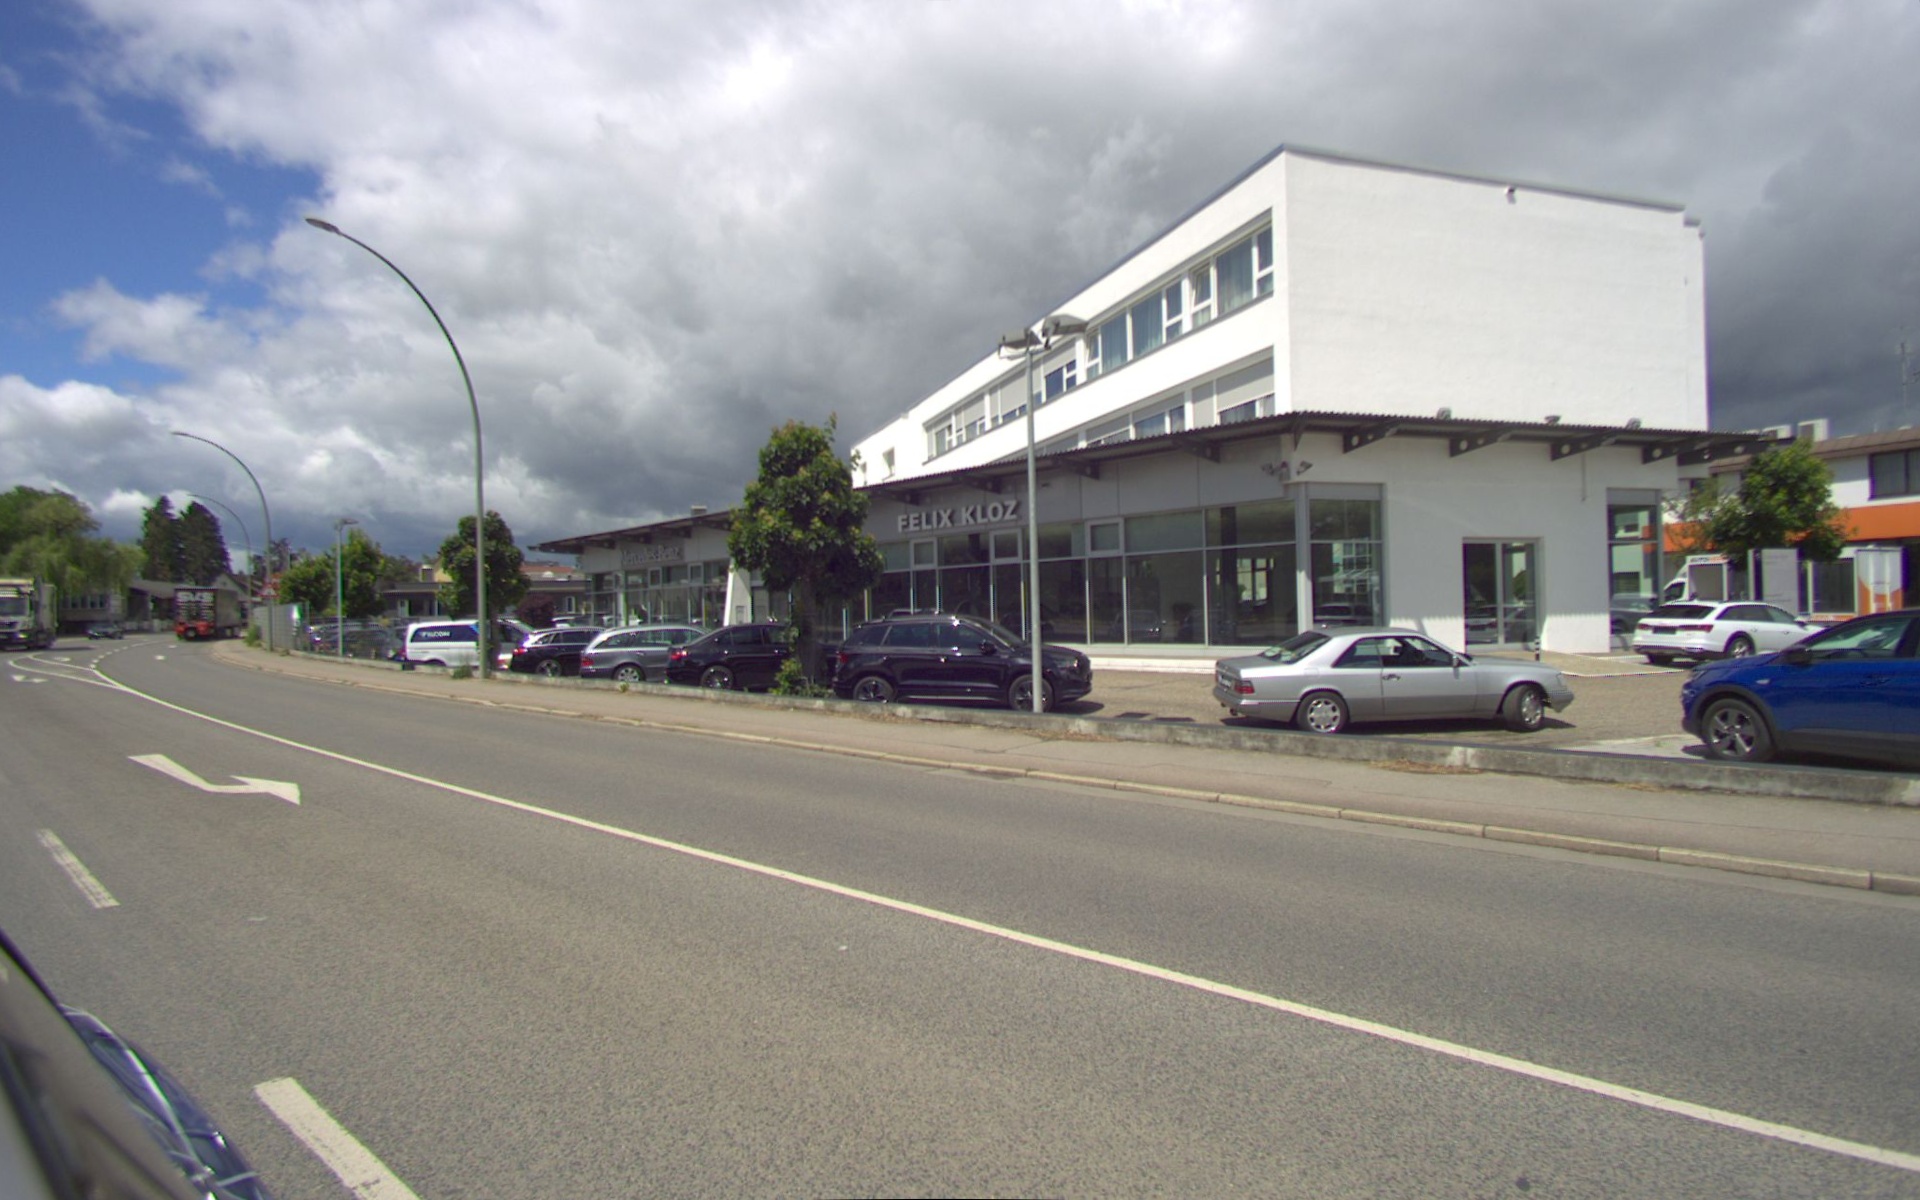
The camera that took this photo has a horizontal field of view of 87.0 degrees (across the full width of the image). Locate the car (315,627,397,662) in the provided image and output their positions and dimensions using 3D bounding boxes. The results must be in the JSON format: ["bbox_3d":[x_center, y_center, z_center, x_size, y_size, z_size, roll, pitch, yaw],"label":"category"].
[{"bbox_3d":[-29.198,2.138,48.919,3.215,1.586,1.585,1,-2,-39],"label":"car"}]

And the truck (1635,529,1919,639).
[{"bbox_3d":[28.583,-0.456,35.865,2.405,3.449,7.845,-1,-1,-18],"label":"truck"}]

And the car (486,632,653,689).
[{"bbox_3d":[-11.431,1.747,29.943,4.390,1.339,1.898,-3,-1,-15],"label":"car"}]

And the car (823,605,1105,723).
[{"bbox_3d":[0.116,1.042,16.724,4.311,1.637,1.796,-2,2,15],"label":"car"}]

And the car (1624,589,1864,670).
[{"bbox_3d":[17.114,0.578,22.114,4.505,1.602,1.933,-1,0,-18],"label":"car"}]

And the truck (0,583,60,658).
[{"bbox_3d":[-51.411,1.123,54.851,2.859,3.796,9.658,0,-1,-35],"label":"truck"}]

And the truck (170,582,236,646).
[{"bbox_3d":[-58.266,1.067,78.076,2.932,4.696,8.204,0,-1,-29],"label":"truck"}]

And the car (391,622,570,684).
[{"bbox_3d":[-15.260,1.670,32.455,4.877,1.852,1.897,0,-1,-11],"label":"car"}]

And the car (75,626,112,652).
[{"bbox_3d":[-70.449,3.161,82.338,1.923,2.029,4.009,0,-1,-36],"label":"car"}]

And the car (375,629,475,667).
[{"bbox_3d":[-23.520,2.107,44.554,3.609,1.474,1.660,-1,-1,-42],"label":"car"}]

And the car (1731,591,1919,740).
[{"bbox_3d":[11.466,0.704,11.445,1.773,1.637,3.967,-2,-1,-20],"label":"car"}]

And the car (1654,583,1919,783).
[{"bbox_3d":[9.099,0.701,9.089,1.863,1.681,4.583,-2,0,-13],"label":"car"}]

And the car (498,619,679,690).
[{"bbox_3d":[-9.963,1.451,27.497,4.433,1.637,1.809,-2,-2,-15],"label":"car"}]

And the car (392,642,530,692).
[{"bbox_3d":[-16.912,2.243,34.463,3.889,1.437,1.809,-2,-1,-13],"label":"car"}]

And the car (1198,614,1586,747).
[{"bbox_3d":[5.823,1.062,14.054,4.534,1.400,1.804,-3,2,1],"label":"car"}]

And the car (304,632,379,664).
[{"bbox_3d":[-32.846,2.515,53.766,3.215,1.586,1.585,1,-2,-39],"label":"car"}]

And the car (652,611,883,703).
[{"bbox_3d":[-4.078,1.153,21.471,4.559,1.637,2.068,-2,-1,-13],"label":"car"}]

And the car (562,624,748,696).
[{"bbox_3d":[-6.928,1.347,23.356,3.892,1.505,1.807,-1,-1,-8],"label":"car"}]
